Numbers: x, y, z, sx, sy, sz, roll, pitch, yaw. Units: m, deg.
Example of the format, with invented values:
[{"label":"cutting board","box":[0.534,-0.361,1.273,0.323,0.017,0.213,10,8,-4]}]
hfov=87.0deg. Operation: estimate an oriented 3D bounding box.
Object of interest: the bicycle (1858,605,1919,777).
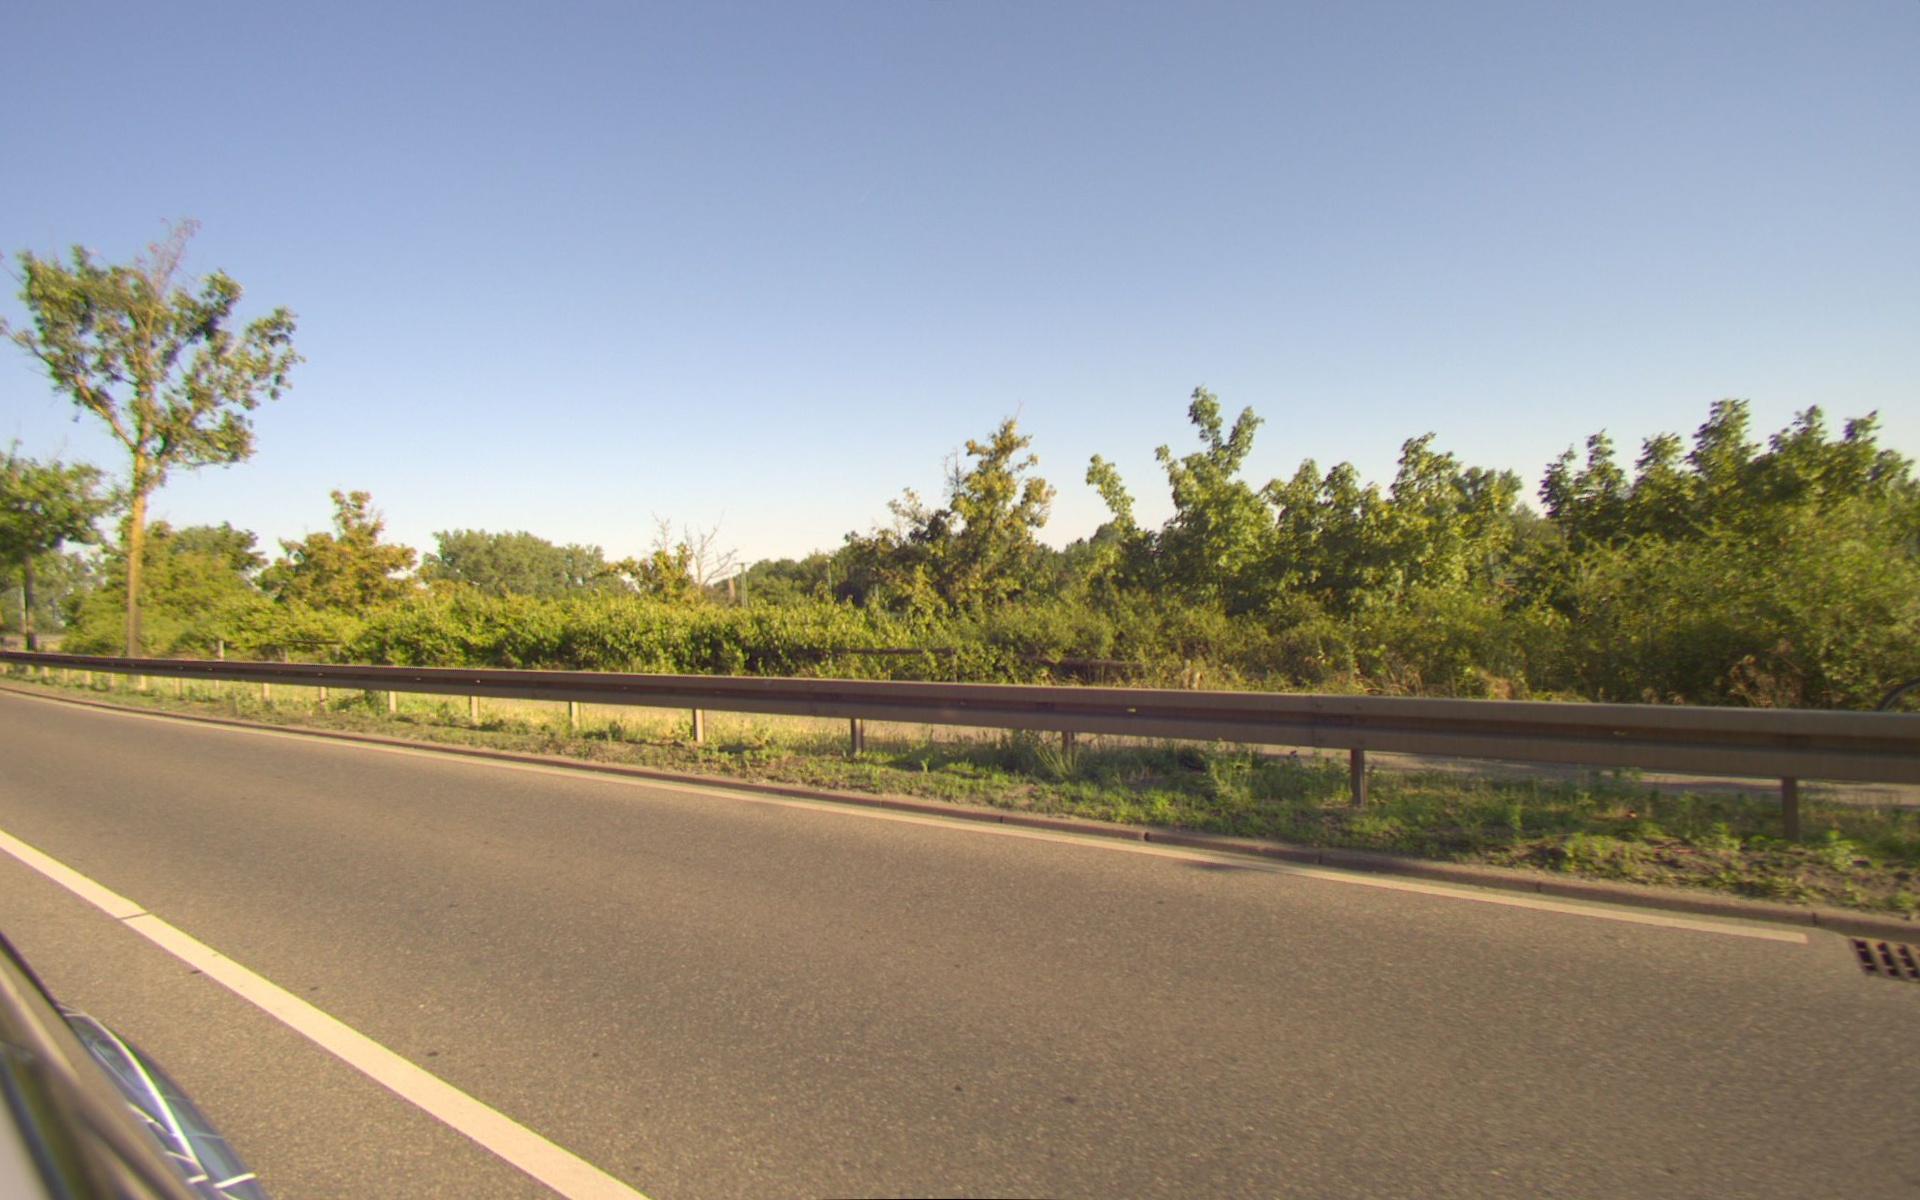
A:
[{"label":"bicycle","box":[6.953,0.564,6.057,2.310,1.085,0.576,-1,-1,38]}]
